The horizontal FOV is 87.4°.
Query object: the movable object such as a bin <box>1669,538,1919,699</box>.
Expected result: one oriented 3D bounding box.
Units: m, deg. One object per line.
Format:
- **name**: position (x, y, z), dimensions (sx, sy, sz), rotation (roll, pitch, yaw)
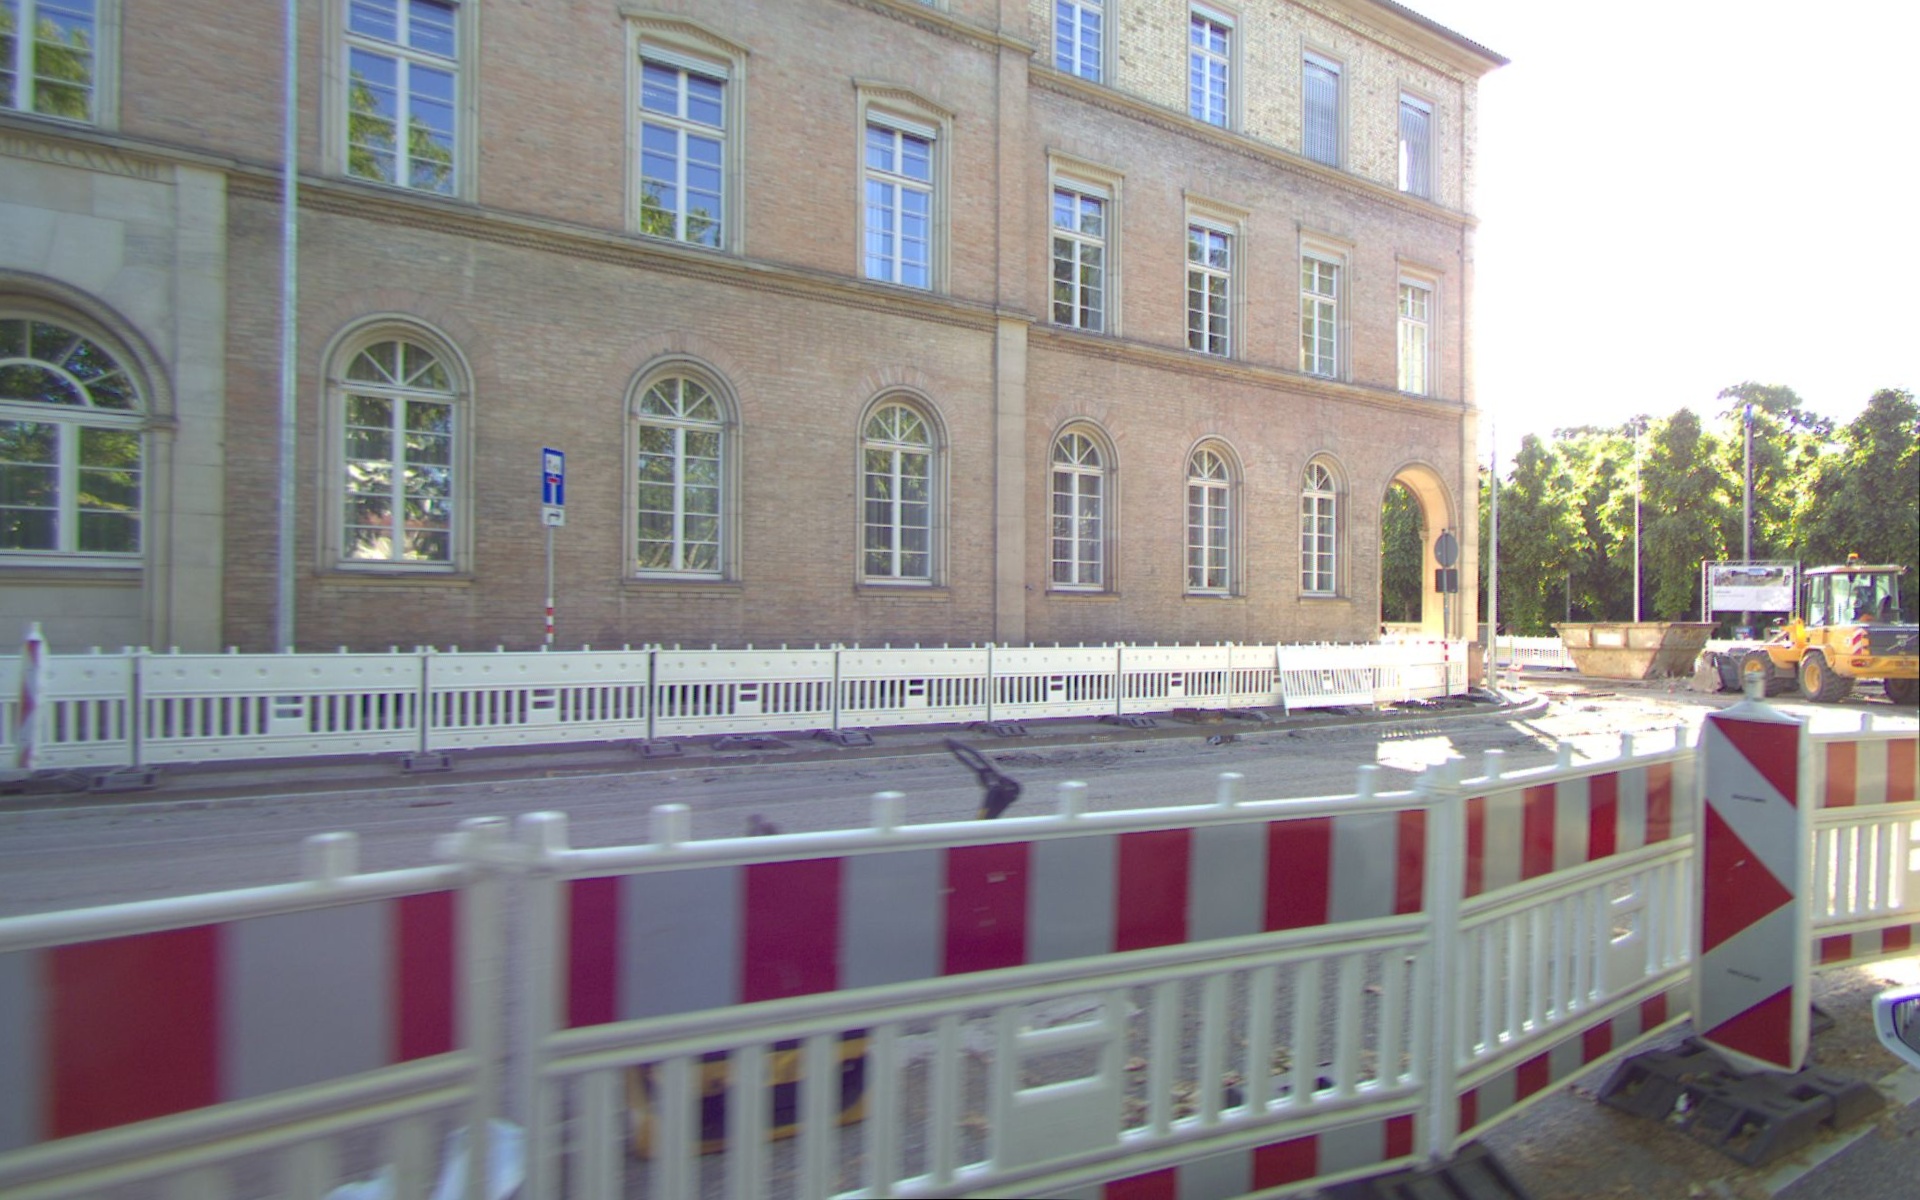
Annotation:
- **movable object such as a bin**: position (18.490, 0.458, 22.188), dimensions (2.515, 3.071, 5.935), rotation (-1, -2, 13)
